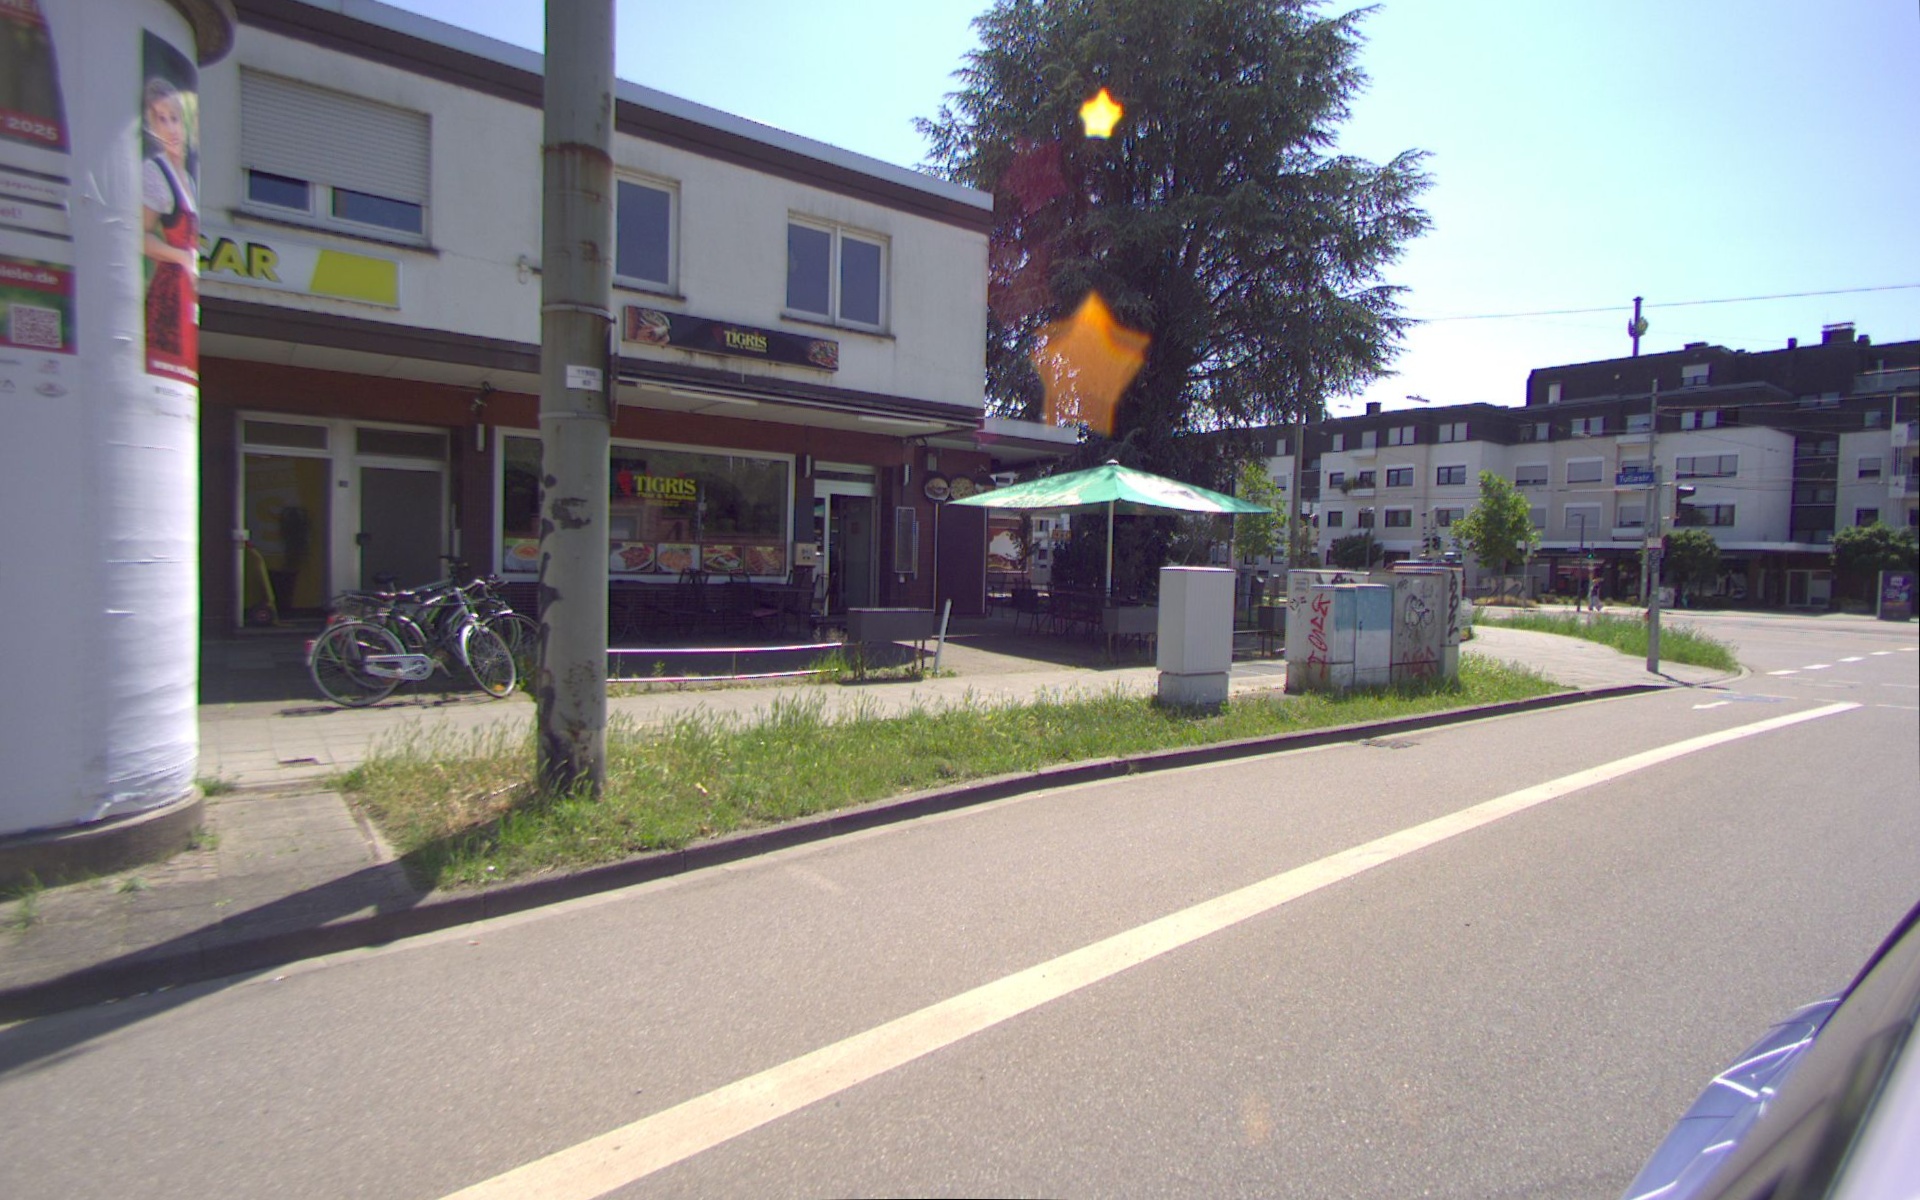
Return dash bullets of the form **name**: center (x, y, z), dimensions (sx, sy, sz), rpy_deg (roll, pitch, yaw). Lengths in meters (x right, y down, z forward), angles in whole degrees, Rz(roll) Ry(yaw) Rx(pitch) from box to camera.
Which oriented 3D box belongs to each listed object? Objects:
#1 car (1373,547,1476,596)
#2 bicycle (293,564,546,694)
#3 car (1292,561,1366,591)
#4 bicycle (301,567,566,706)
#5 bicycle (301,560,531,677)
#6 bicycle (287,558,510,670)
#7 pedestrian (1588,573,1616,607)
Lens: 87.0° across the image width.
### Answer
- **car**: center (27.562, -1.737, 60.233), dimensions (1.964, 2.761, 5.205), rpy_deg (0, 3, -38)
- **bicycle**: center (-4.929, 0.231, 9.333), dimensions (1.987, 1.081, 0.543), rpy_deg (0, 3, -42)
- **car**: center (23.741, -1.584, 65.148), dimensions (1.964, 1.771, 3.997), rpy_deg (-1, 3, -39)
- **bicycle**: center (-4.562, 0.278, 8.875), dimensions (1.987, 1.081, 0.543), rpy_deg (0, 3, -42)
- **bicycle**: center (-5.473, 0.159, 10.277), dimensions (1.987, 1.081, 0.543), rpy_deg (0, 3, -42)
- **bicycle**: center (-5.894, 0.119, 10.710), dimensions (1.987, 1.081, 0.543), rpy_deg (0, 3, -42)
- **pedestrian**: center (32.269, -0.509, 50.888), dimensions (0.924, 1.645, 0.808), rpy_deg (0, 2, -31)
